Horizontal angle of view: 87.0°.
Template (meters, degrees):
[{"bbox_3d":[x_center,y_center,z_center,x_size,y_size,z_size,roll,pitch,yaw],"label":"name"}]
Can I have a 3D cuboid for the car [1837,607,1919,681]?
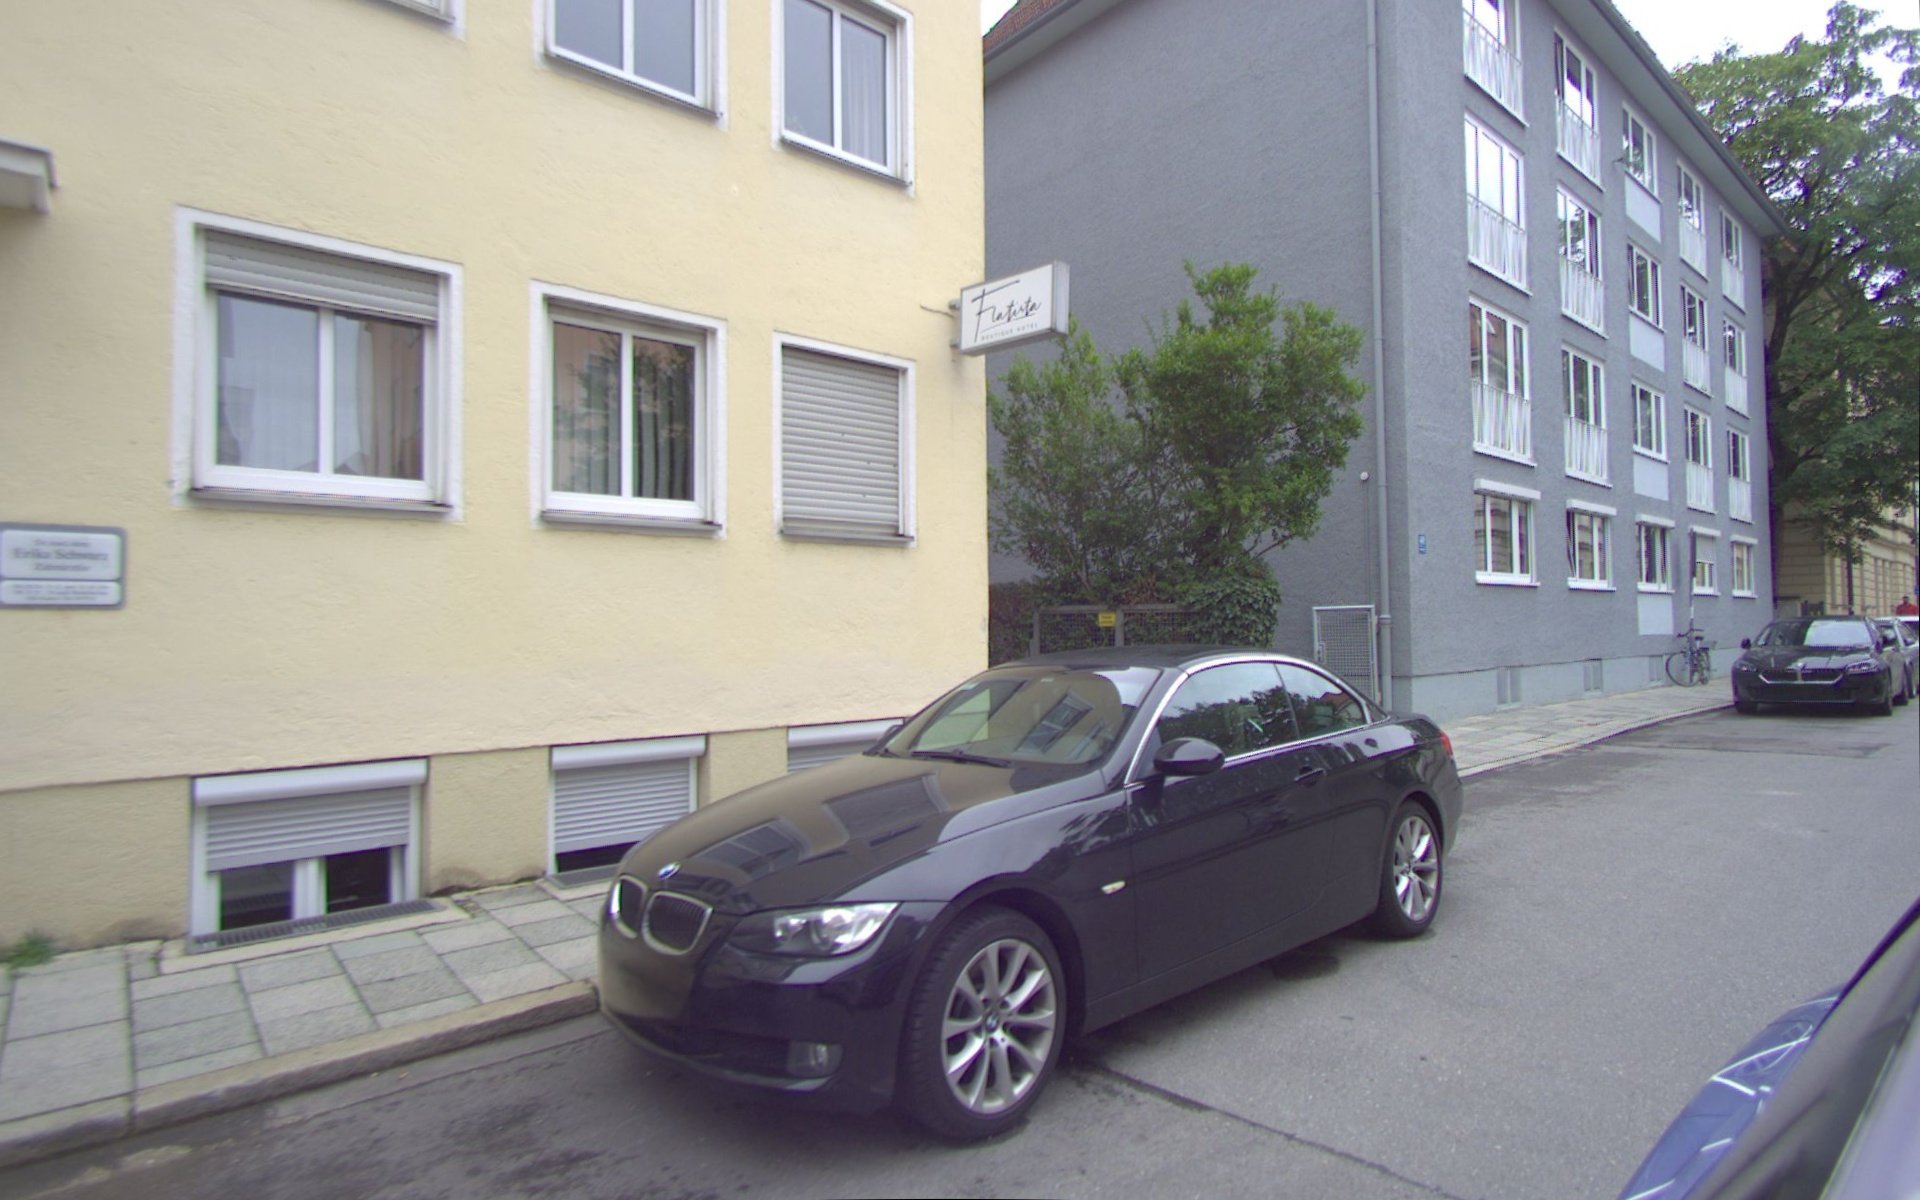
[{"bbox_3d":[20.817,0.907,22.076,4.267,1.465,1.771,0,-6,-40],"label":"car"}]

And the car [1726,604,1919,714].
[{"bbox_3d":[13.514,0.875,15.664,4.191,1.448,1.842,1,-6,-43],"label":"car"}]

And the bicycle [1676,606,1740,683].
[{"bbox_3d":[15.480,0.892,20.919,2.239,1.506,0.515,0,-2,-40],"label":"bicycle"}]

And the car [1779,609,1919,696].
[{"bbox_3d":[17.015,0.937,18.871,4.405,1.420,1.792,0,-6,-40],"label":"car"}]

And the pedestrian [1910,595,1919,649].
[{"bbox_3d":[35.766,0.801,37.578,0.448,2.003,0.580,1,-3,-41],"label":"pedestrian"}]

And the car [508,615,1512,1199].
[{"bbox_3d":[0.584,0.828,4.538,4.430,1.352,1.827,0,-6,-41],"label":"car"}]
